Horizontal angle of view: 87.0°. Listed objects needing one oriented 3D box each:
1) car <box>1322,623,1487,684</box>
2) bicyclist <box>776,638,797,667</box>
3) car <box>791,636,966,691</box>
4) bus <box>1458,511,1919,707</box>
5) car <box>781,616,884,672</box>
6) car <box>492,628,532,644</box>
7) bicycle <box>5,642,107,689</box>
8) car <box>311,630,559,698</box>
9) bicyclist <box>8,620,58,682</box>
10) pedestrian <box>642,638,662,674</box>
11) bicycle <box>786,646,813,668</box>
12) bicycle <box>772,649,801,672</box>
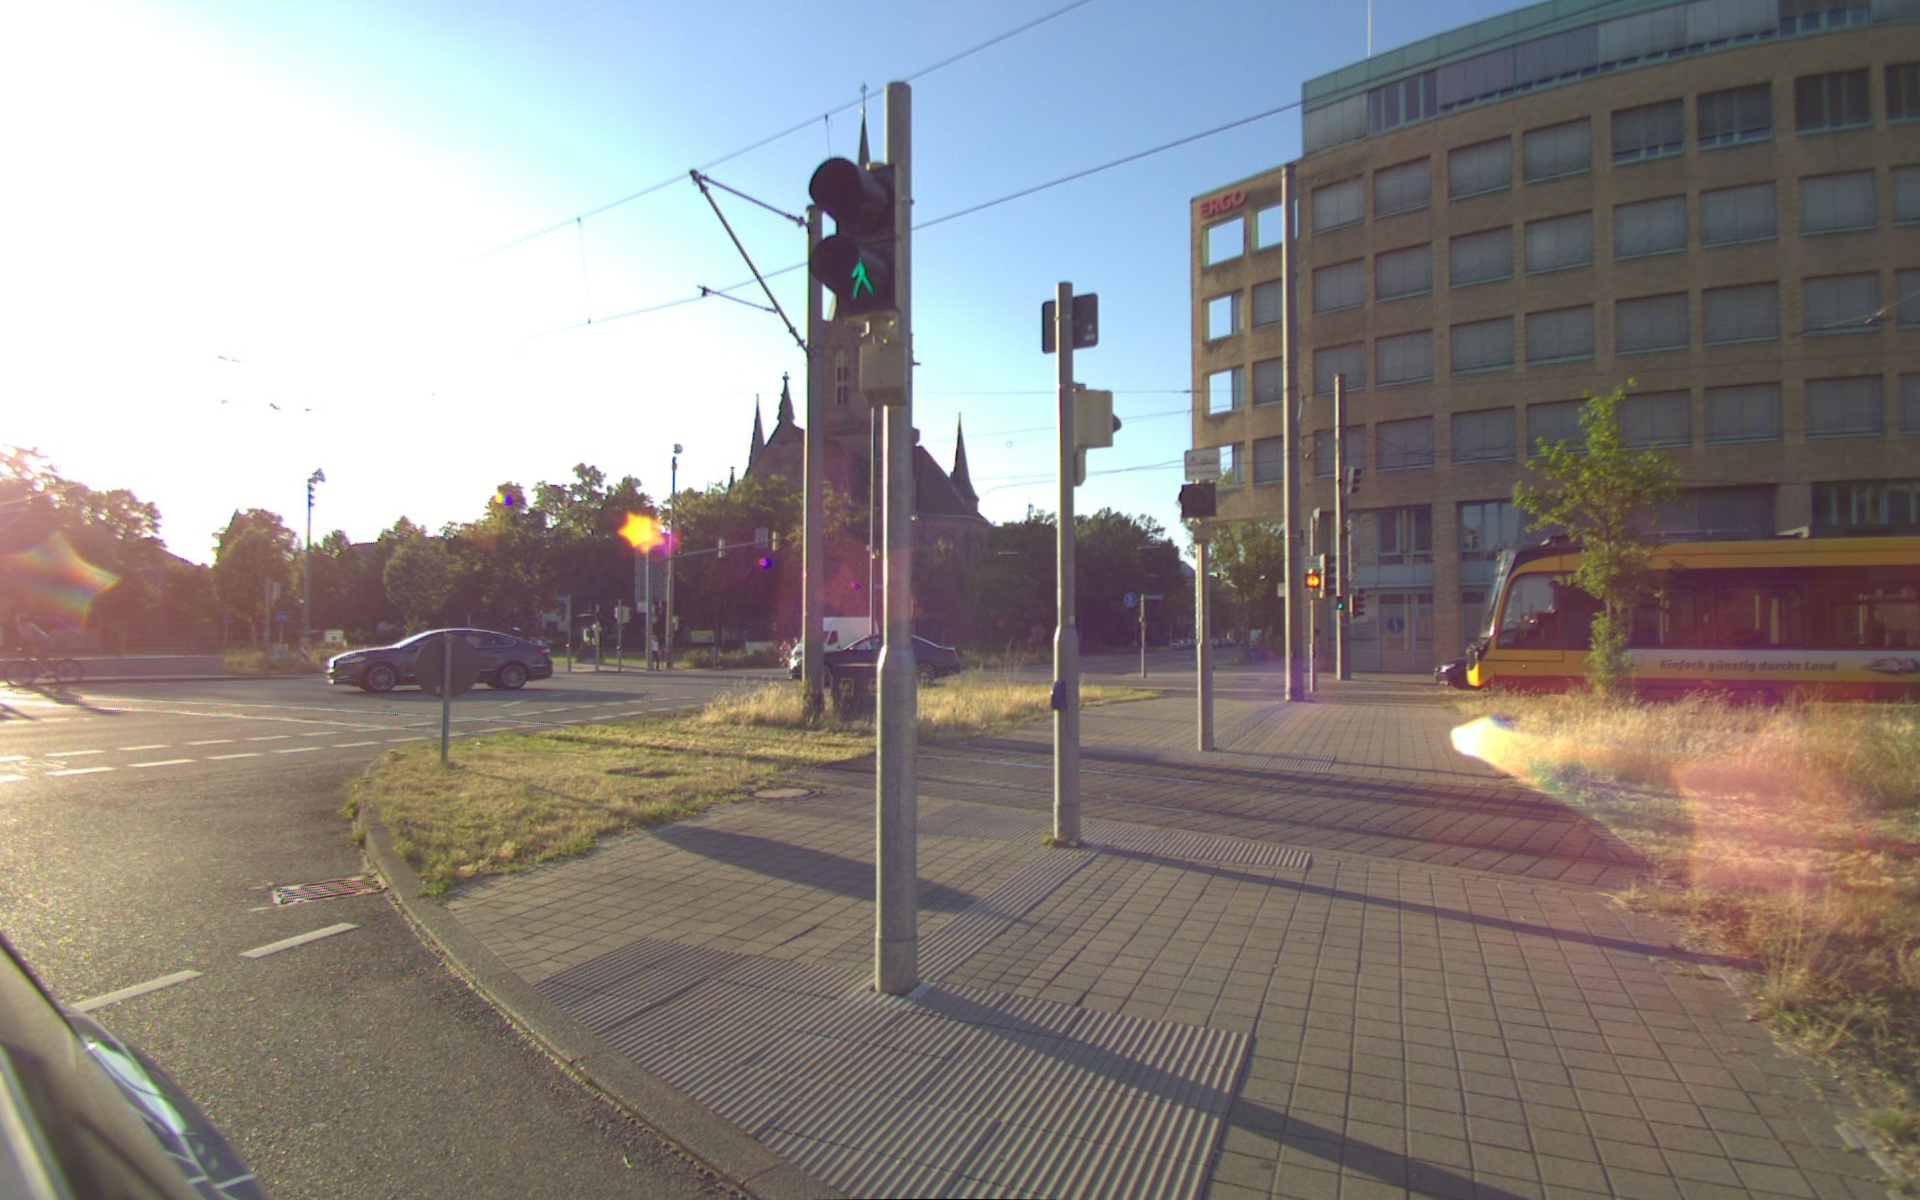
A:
[{"bbox_3d":[12.225,1.458,27.974,3.977,1.554,1.983,-2,-2,25],"label":"car"},{"bbox_3d":[-9.575,2.902,55.823,0.819,1.580,0.726,-2,-2,29],"label":"bicyclist"},{"bbox_3d":[-2.424,1.848,29.647,4.946,1.519,1.728,1,-2,-9],"label":"car"},{"bbox_3d":[16.810,0.220,20.087,12.051,3.482,3.732,-2,-2,23],"label":"bus"},{"bbox_3d":[-6.949,2.419,56.184,2.295,2.900,7.143,-2,-3,24],"label":"car"},{"bbox_3d":[-54.755,4.400,123.739,4.070,1.836,2.001,-1,-1,-3],"label":"car"},{"bbox_3d":[-23.793,1.707,26.688,0.488,1.191,1.953,-2,-3,27],"label":"bicycle"},{"bbox_3d":[-12.398,1.491,24.087,4.961,1.447,1.883,3,-3,-38],"label":"car"},{"bbox_3d":[-24.042,1.319,26.243,0.819,1.580,0.726,-2,-2,29],"label":"bicyclist"},{"bbox_3d":[-15.026,2.725,49.414,0.654,1.694,0.656,-2,-2,26],"label":"pedestrian"},{"bbox_3d":[-9.225,3.267,58.214,0.488,1.191,1.953,-2,-2,27],"label":"bicycle"},{"bbox_3d":[-9.577,3.318,55.819,0.488,1.191,1.953,-2,-2,27],"label":"bicycle"}]
